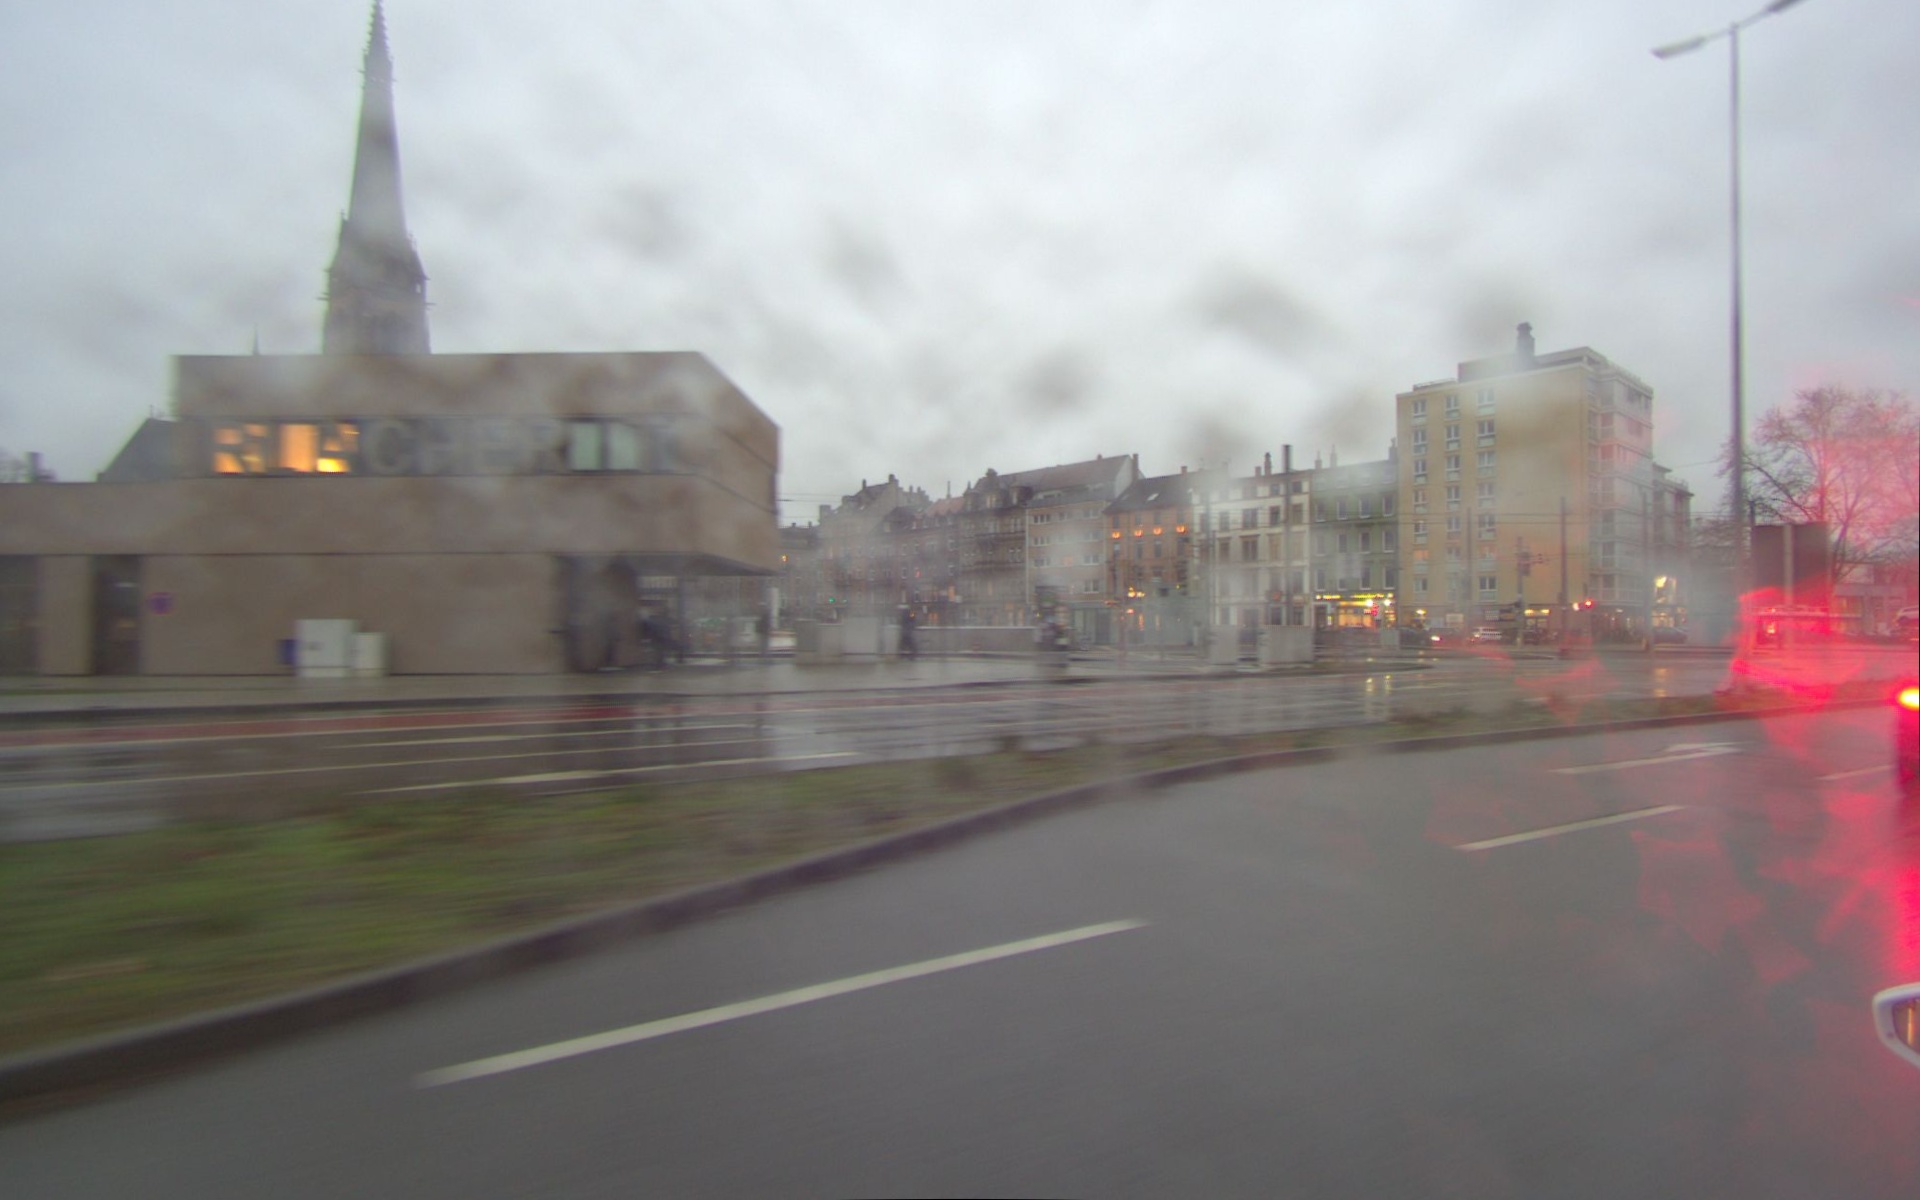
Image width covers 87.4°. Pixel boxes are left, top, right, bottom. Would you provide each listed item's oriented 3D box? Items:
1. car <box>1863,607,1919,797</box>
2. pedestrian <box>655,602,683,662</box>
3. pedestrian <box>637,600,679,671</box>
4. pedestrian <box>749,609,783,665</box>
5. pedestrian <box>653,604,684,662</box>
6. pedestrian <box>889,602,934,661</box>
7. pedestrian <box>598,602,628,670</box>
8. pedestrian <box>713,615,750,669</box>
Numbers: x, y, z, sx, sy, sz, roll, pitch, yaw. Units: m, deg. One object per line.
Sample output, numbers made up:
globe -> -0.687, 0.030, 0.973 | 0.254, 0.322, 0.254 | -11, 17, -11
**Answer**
car -> 9.489, 0.857, 8.605 | 3.831, 1.501, 1.690 | 1, 1, -34
pedestrian -> -8.634, 0.946, 29.788 | 0.732, 1.749, 0.739 | 0, -2, -20
pedestrian -> -7.772, 0.912, 25.856 | 0.653, 1.791, 0.828 | -2, -2, 45
pedestrian -> -6.263, 1.185, 32.402 | 0.790, 1.774, 0.758 | -2, -2, 44
pedestrian -> -9.014, 1.026, 31.054 | 0.736, 1.749, 0.736 | 1, -2, -33
pedestrian -> -1.629, 1.068, 33.896 | 1.114, 1.944, 1.050 | 1, -2, -40
pedestrian -> -9.039, 0.937, 26.174 | 0.732, 1.749, 0.739 | 0, -2, -20
pedestrian -> -7.040, 1.293, 30.977 | 0.946, 1.624, 0.856 | 0, -2, 1
